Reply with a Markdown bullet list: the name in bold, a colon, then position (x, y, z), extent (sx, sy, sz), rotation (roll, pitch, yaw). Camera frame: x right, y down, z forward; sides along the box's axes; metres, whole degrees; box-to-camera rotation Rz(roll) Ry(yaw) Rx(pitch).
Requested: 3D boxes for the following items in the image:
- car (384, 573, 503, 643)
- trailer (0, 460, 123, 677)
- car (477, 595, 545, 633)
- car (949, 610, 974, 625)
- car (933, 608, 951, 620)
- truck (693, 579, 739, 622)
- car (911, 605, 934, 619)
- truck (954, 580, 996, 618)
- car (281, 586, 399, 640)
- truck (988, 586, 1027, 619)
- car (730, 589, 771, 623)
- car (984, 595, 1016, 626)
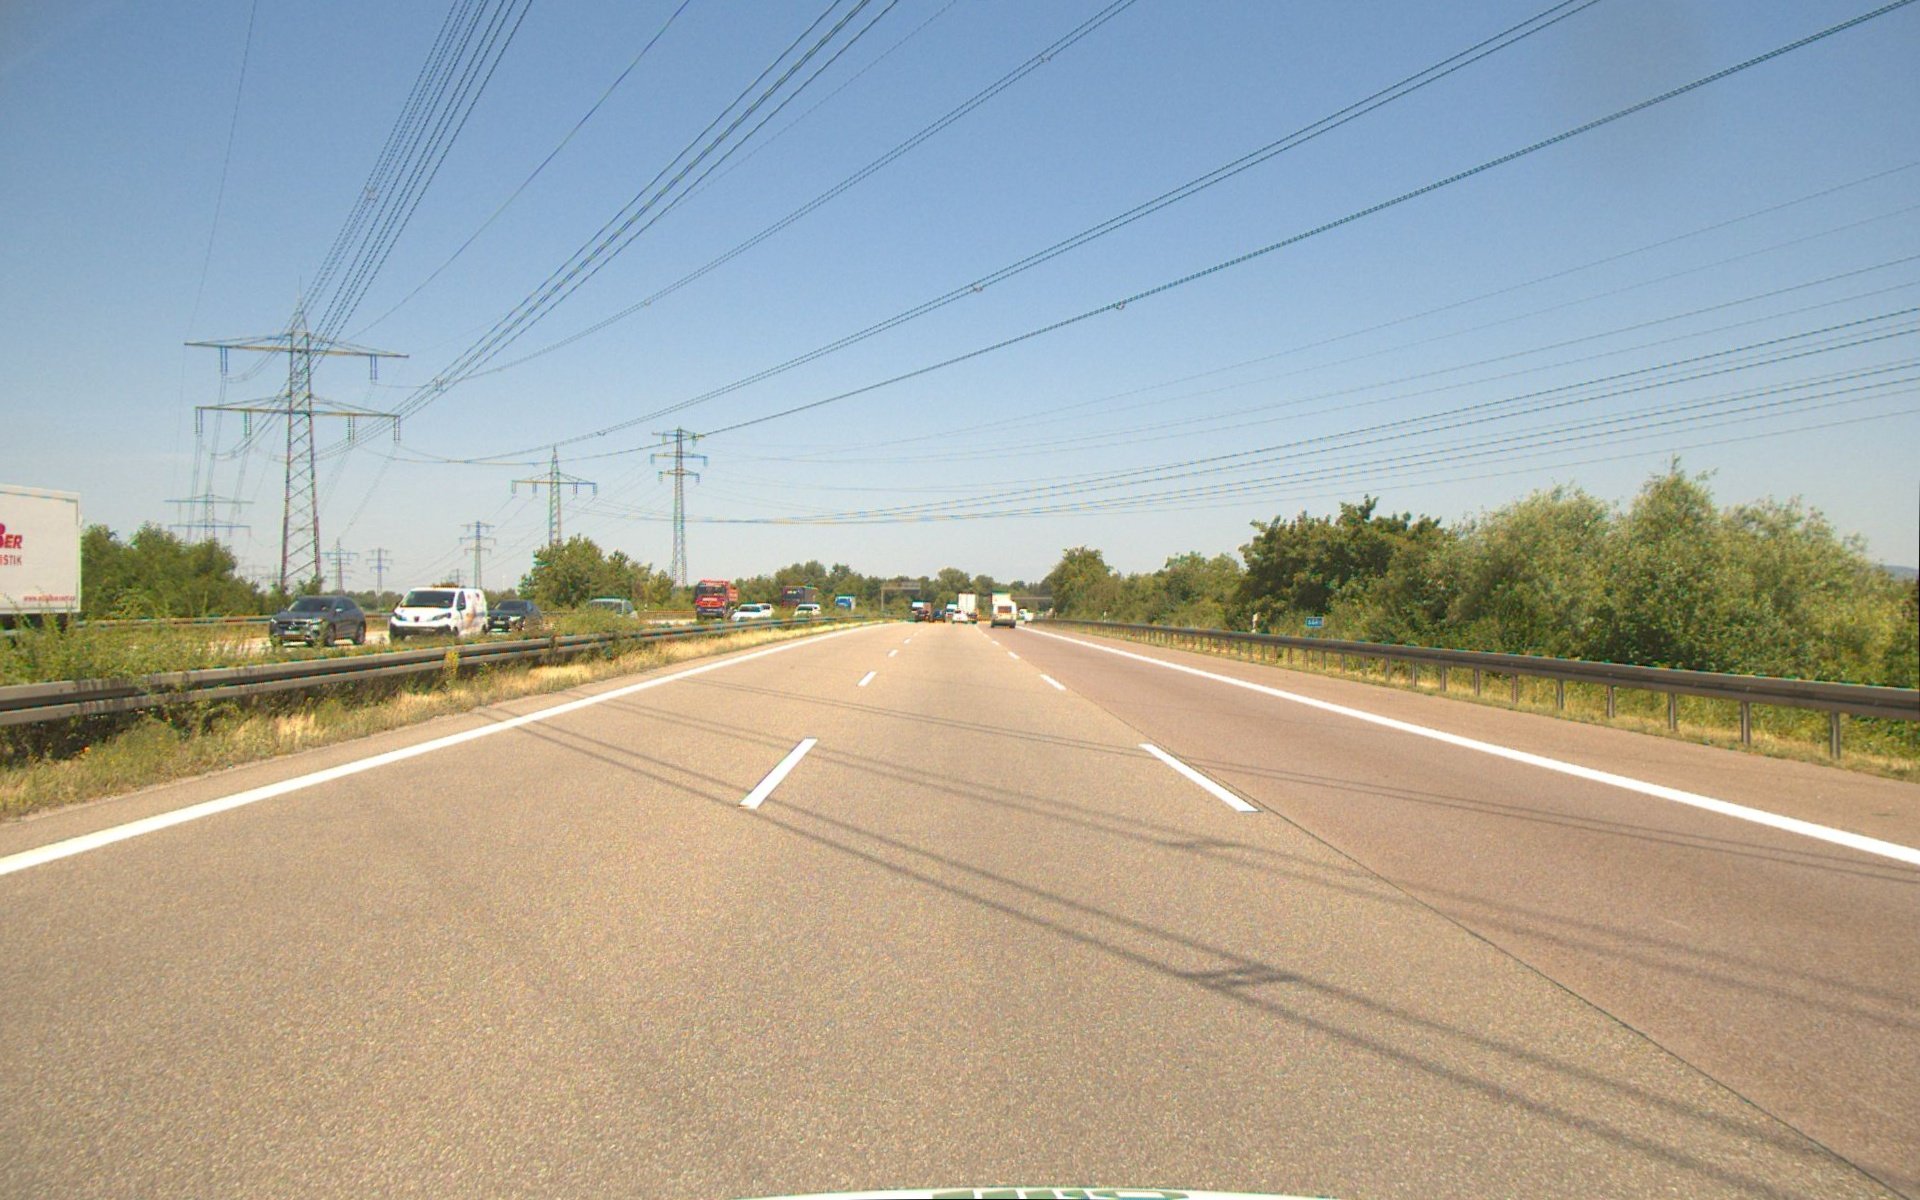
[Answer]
- **car**: position (-16.218, 0.208, 52.243), extent (1.953, 2.049, 5.701), rotation (1, 0, 0)
- **trailer**: position (-20.120, -0.652, 32.884), extent (2.784, 4.237, 8.325), rotation (1, 0, -1)
- **car**: position (-21.068, 0.640, 77.778), extent (1.953, 1.690, 5.086), rotation (-1, 0, -2)
- **car**: position (0.196, 1.989, 184.602), extent (1.789, 1.574, 4.322), rotation (2, 0, 13)
- **car**: position (-2.515, 1.941, 233.406), extent (1.789, 1.574, 4.322), rotation (2, 0, 9)
- **truck**: position (-20.950, -0.002, 142.519), extent (2.714, 3.588, 8.533), rotation (1, 0, 0)
- **car**: position (-4.245, 1.349, 185.810), extent (1.789, 1.574, 4.322), rotation (2, 0, 9)
- **truck**: position (2.244, -0.154, 235.402), extent (3.588, 5.106, 16.031), rotation (1, 0, 9)
- **car**: position (-20.190, 0.387, 54.093), extent (1.953, 1.613, 5.066), rotation (1, 0, 0)
- **truck**: position (6.765, 0.275, 230.546), extent (3.113, 4.379, 16.031), rotation (1, 0, 10)
- **car**: position (-13.289, 0.330, 105.070), extent (1.953, 2.049, 4.920), rotation (1, 0, 0)
- **car**: position (3.183, 0.843, 132.681), extent (2.392, 2.362, 5.320), rotation (0, 1, -1)
